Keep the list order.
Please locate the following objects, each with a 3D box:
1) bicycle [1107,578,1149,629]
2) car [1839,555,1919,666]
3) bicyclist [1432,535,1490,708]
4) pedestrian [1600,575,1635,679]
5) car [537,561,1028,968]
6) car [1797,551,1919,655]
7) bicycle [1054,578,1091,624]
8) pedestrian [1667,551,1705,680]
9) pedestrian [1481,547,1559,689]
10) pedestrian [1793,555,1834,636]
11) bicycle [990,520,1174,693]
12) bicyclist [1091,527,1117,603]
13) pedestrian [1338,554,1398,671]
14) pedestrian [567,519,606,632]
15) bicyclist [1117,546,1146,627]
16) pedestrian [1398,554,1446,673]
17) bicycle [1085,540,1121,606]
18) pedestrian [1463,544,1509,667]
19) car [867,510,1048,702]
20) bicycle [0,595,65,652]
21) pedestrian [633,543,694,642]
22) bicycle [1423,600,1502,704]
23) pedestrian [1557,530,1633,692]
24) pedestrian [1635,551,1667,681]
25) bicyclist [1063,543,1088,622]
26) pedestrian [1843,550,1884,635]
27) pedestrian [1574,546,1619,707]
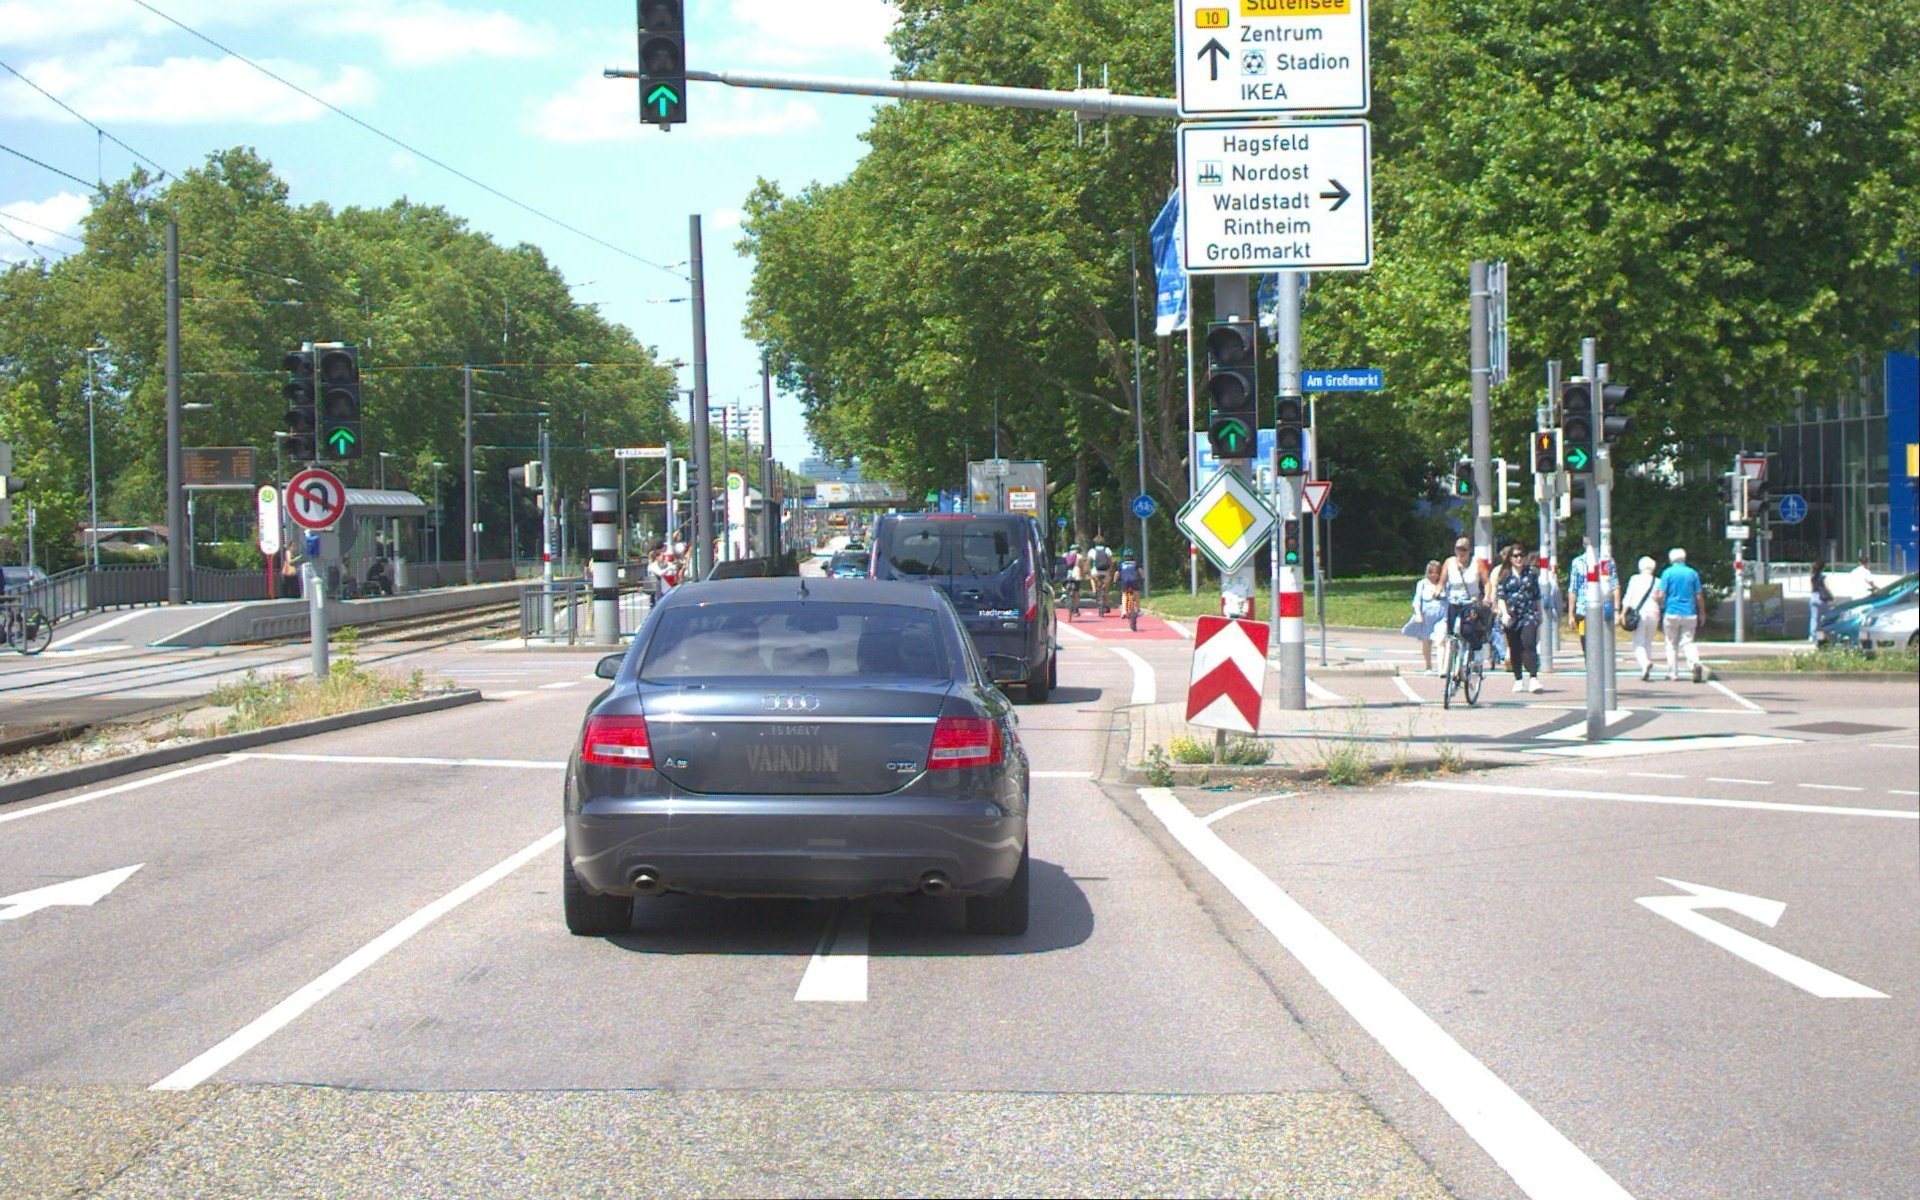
[{"bbox_3d":[3.475,0.070,71.249,0.687,1.002,2.752,0,1,-1],"label":"bicycle"},{"bbox_3d":[14.746,0.182,47.893,4.497,1.481,2.000,2,1,3],"label":"car"},{"bbox_3d":[5.168,0.217,35.447,0.529,1.758,0.827,0,0,12],"label":"bicyclist"},{"bbox_3d":[8.326,0.342,43.516,0.372,1.299,0.365,1,1,2],"label":"pedestrian"},{"bbox_3d":[-0.685,0.581,14.606,1.792,1.450,4.000,0,1,-1],"label":"car"},{"bbox_3d":[14.589,0.063,51.137,3.789,1.481,2.000,2,1,3],"label":"car"},{"bbox_3d":[2.529,0.014,77.455,0.687,0.990,2.752,0,1,-1],"label":"bicycle"},{"bbox_3d":[9.176,0.194,43.471,0.398,1.629,0.371,1,1,2],"label":"pedestrian"},{"bbox_3d":[6.510,0.204,39.974,0.714,1.629,0.706,1,1,25],"label":"pedestrian"},{"bbox_3d":[16.476,-0.094,66.347,0.705,1.539,0.677,1,1,18],"label":"pedestrian"},{"bbox_3d":[1.555,0.050,42.352,1.994,2.007,3.999,1,1,6],"label":"bicycle"},{"bbox_3d":[3.406,-0.819,81.299,0.528,1.783,1.088,0,0,-1],"label":"bicyclist"},{"bbox_3d":[5.282,0.154,44.453,0.670,1.498,0.608,1,1,16],"label":"pedestrian"},{"bbox_3d":[-6.645,-0.438,61.199,0.685,2.007,0.573,0,0,-5],"label":"pedestrian"},{"bbox_3d":[3.555,-0.275,71.414,0.528,1.670,1.088,0,0,-1],"label":"bicyclist"},{"bbox_3d":[5.955,0.168,44.264,0.494,1.514,0.706,1,1,16],"label":"pedestrian"},{"bbox_3d":[3.344,-0.646,80.789,0.687,1.514,2.752,0,1,-1],"label":"bicycle"},{"bbox_3d":[7.062,0.069,46.171,0.554,1.629,0.433,1,1,2],"label":"pedestrian"},{"bbox_3d":[-0.076,0.041,36.917,1.836,1.943,4.000,0,1,-1],"label":"car"},{"bbox_3d":[-15.634,0.377,55.861,2.055,0.922,0.753,0,1,-9],"label":"bicycle"},{"bbox_3d":[-4.709,-0.129,54.535,0.742,1.550,0.607,1,1,36],"label":"pedestrian"},{"bbox_3d":[5.218,0.528,35.644,0.660,1.018,1.860,1,1,13],"label":"bicycle"},{"bbox_3d":[7.312,0.122,39.583,0.685,1.840,0.706,1,1,25],"label":"pedestrian"},{"bbox_3d":[8.752,0.200,43.537,0.320,1.629,0.377,1,1,2],"label":"pedestrian"},{"bbox_3d":[2.612,-0.406,77.826,0.528,1.783,1.088,0,0,-1],"label":"bicyclist"},{"bbox_3d":[17.388,-0.147,66.158,0.705,1.629,0.611,1,1,18],"label":"pedestrian"},{"bbox_3d":[6.507,0.265,35.159,0.381,1.629,0.377,1,1,2],"label":"pedestrian"}]
